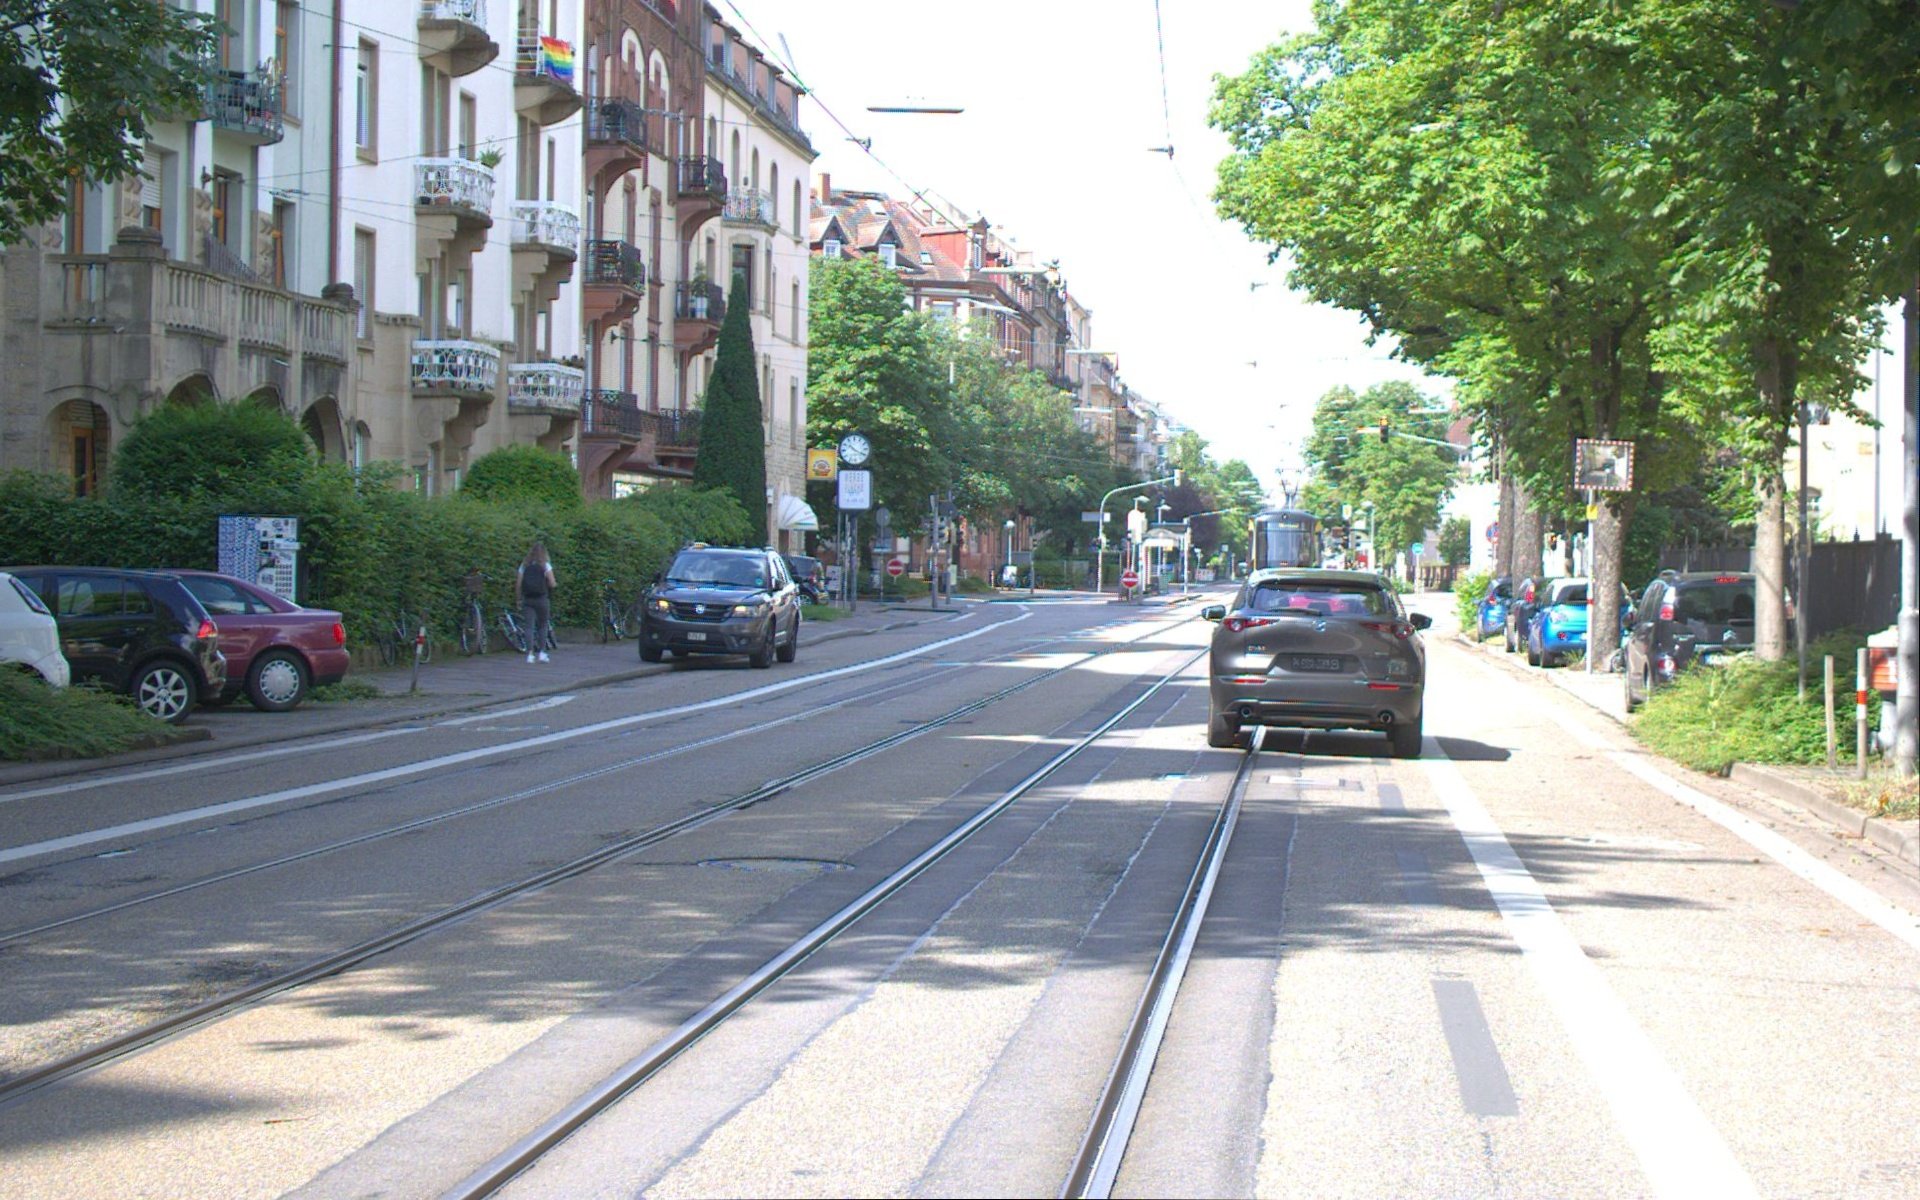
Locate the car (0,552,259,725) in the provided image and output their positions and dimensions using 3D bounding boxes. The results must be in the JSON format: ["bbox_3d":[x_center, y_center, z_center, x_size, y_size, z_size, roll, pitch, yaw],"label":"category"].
[{"bbox_3d":[-8.440,0.345,30.953,3.795,1.479,1.697,-1,1,-33],"label":"car"}]

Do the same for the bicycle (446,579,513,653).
[{"bbox_3d":[-6.542,0.205,46.867,0.383,0.956,1.809,3,1,8],"label":"bicycle"}]

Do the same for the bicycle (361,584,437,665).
[{"bbox_3d":[-7.040,0.298,43.202,0.383,0.956,1.809,3,1,8],"label":"bicycle"}]

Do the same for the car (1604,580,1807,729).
[{"bbox_3d":[8.326,0.574,38.685,1.697,1.585,4.202,0,0,5],"label":"car"}]

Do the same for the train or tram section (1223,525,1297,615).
[{"bbox_3d":[12.056,-1.195,138.769,2.652,3.516,8.496,1,0,3],"label":"train or tram section"}]

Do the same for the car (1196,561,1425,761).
[{"bbox_3d":[3.018,0.467,29.983,1.790,1.507,4.350,2,1,5],"label":"car"}]

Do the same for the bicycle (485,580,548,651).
[{"bbox_3d":[-6.304,0.214,48.946,0.383,0.956,1.809,3,1,8],"label":"bicycle"}]

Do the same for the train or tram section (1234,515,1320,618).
[{"bbox_3d":[11.176,-1.153,121.790,2.652,3.516,8.496,1,0,3],"label":"train or tram section"}]

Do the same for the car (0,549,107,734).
[{"bbox_3d":[-9.027,0.363,27.717,3.796,1.479,1.697,-1,1,-39],"label":"car"}]

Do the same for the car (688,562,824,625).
[{"bbox_3d":[-5.411,-0.174,91.440,3.238,1.508,1.678,3,0,10],"label":"car"}]

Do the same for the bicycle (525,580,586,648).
[{"bbox_3d":[-5.999,0.195,51.062,0.383,0.956,1.920,3,1,8],"label":"bicycle"}]

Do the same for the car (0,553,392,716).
[{"bbox_3d":[-7.846,0.311,34.054,3.958,1.479,1.846,-1,1,-37],"label":"car"}]

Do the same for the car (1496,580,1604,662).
[{"bbox_3d":[11.153,0.383,65.172,1.640,1.491,3.757,0,1,4],"label":"car"}]

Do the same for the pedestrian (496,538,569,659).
[{"bbox_3d":[-5.699,-0.021,45.907,0.680,1.563,0.881,3,1,8],"label":"pedestrian"}]

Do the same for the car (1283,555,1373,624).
[{"bbox_3d":[8.314,-0.271,78.012,1.785,1.487,4.882,1,1,3],"label":"car"}]

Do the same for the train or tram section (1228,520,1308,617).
[{"bbox_3d":[11.611,-1.177,130.278,2.652,3.516,8.496,1,0,3],"label":"train or tram section"}]

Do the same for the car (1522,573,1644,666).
[{"bbox_3d":[10.353,0.304,57.291,1.640,1.491,3.626,0,1,4],"label":"car"}]

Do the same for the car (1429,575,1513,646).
[{"bbox_3d":[11.185,0.205,75.388,1.624,1.491,3.847,-1,0,6],"label":"car"}]

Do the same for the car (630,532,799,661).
[{"bbox_3d":[-3.504,-0.084,49.881,1.785,1.756,4.882,1,1,3],"label":"car"}]

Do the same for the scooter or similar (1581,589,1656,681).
[{"bbox_3d":[9.648,0.504,50.405,0.440,1.295,1.182,-3,2,-25],"label":"scooter or similar"}]
